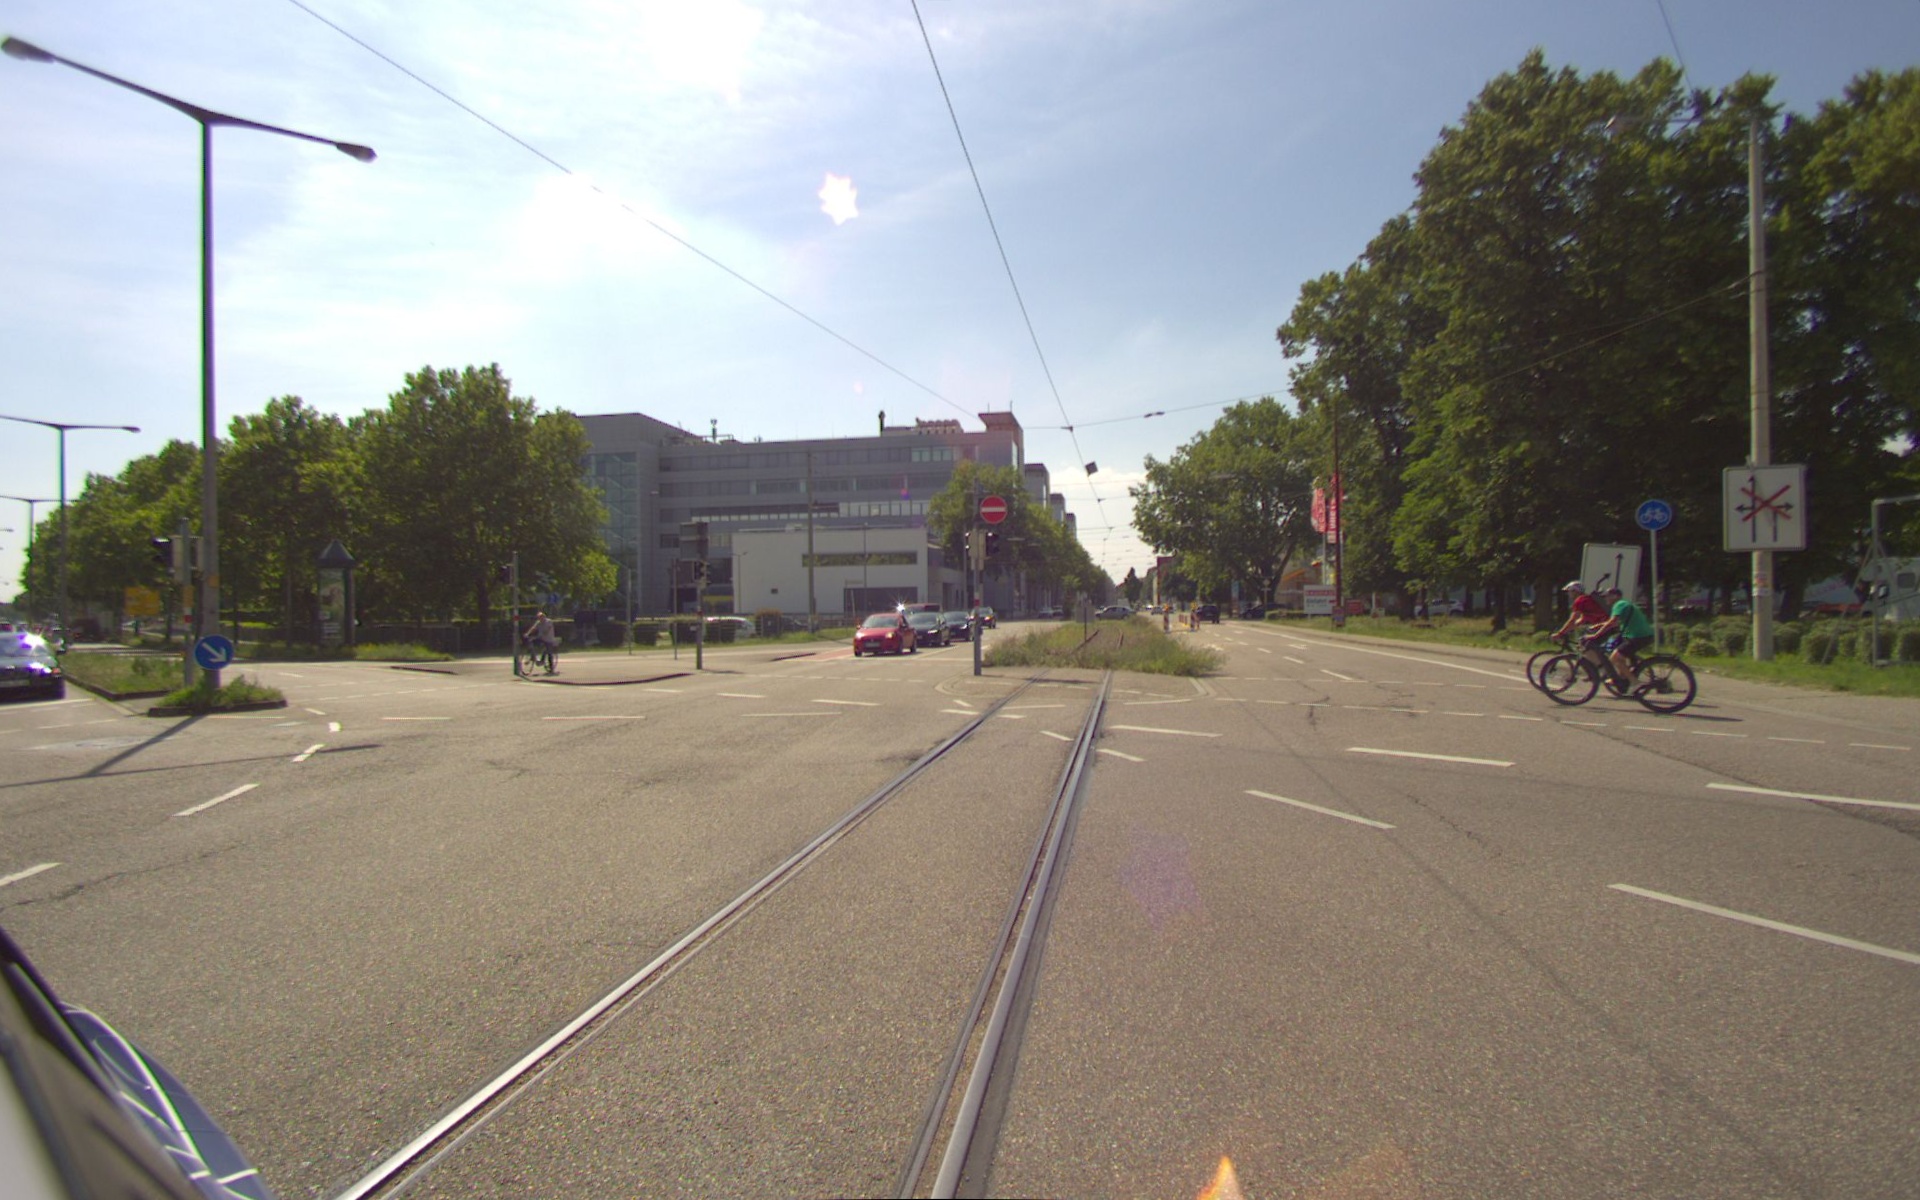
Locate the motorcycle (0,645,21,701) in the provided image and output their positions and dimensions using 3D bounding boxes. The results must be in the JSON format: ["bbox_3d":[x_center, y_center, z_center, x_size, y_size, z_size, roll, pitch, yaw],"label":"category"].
[{"bbox_3d":[-24.314,1.821,25.353,2.332,1.361,1.037,-2,-1,44],"label":"motorcycle"}]

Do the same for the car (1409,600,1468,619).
[{"bbox_3d":[42.386,0.827,89.793,4.338,1.576,1.868,-2,-1,12],"label":"car"}]

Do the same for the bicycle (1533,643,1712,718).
[{"bbox_3d":[9.055,1.075,13.900,0.411,0.945,1.998,0,-1,-44],"label":"bicycle"}]

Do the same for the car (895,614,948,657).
[{"bbox_3d":[-1.598,1.486,43.105,1.973,1.712,3.998,-1,-1,1],"label":"car"}]

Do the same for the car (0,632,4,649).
[{"bbox_3d":[-114.709,4.846,119.943,4.002,2.029,1.971,-2,-1,45],"label":"car"}]

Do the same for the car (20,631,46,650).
[{"bbox_3d":[-105.121,4.592,114.717,4.002,2.029,1.971,-2,-1,45],"label":"car"}]

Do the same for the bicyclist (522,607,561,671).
[{"bbox_3d":[-12.085,1.111,29.244,0.699,1.802,0.764,-2,-1,15],"label":"bicyclist"}]

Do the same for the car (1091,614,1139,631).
[{"bbox_3d":[14.483,2.123,94.708,4.187,1.454,1.779,-2,-1,18],"label":"car"}]

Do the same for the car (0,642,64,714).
[{"bbox_3d":[-20.352,1.619,21.424,4.068,1.372,1.707,-2,0,43],"label":"car"}]

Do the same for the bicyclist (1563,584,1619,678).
[{"bbox_3d":[9.783,0.474,15.686,0.609,1.425,0.522,-2,-1,43],"label":"bicyclist"}]

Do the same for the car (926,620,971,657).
[{"bbox_3d":[-0.530,1.859,49.665,1.974,1.712,3.996,-1,-1,3],"label":"car"}]

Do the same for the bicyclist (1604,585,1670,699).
[{"bbox_3d":[9.198,0.558,13.746,0.521,1.503,0.610,0,-1,-43],"label":"bicyclist"}]

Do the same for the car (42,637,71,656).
[{"bbox_3d":[-76.337,3.886,85.492,3.737,1.525,1.630,-2,-1,44],"label":"car"}]

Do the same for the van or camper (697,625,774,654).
[{"bbox_3d":[-14.572,2.550,65.812,4.458,1.704,1.996,-1,-1,7],"label":"van or camper"}]

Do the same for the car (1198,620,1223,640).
[{"bbox_3d":[19.902,2.340,80.371,1.773,1.454,4.202,-2,-1,14],"label":"car"}]

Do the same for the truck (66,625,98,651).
[{"bbox_3d":[-87.977,3.778,101.365,2.114,2.494,7.135,0,-1,-43],"label":"truck"}]

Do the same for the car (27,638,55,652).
[{"bbox_3d":[-94.576,4.618,104.092,3.766,1.445,1.828,-2,-1,43],"label":"car"}]

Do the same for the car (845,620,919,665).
[{"bbox_3d":[-2.736,1.488,36.459,1.826,1.460,3.990,-1,-1,8],"label":"car"}]

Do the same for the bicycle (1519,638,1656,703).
[{"bbox_3d":[9.727,1.078,15.741,1.751,0.945,0.429,-2,-1,44],"label":"bicycle"}]

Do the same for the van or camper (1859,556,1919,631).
[{"bbox_3d":[41.412,-0.298,42.328,2.682,3.124,6.306,-1,0,10],"label":"van or camper"}]

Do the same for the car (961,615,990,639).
[{"bbox_3d":[1.171,1.983,74.577,1.974,1.712,3.996,-1,-1,3],"label":"car"}]

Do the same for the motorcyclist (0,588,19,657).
[{"bbox_3d":[-24.379,0.577,25.417,1.042,1.712,1.052,-2,-1,44],"label":"motorcyclist"}]

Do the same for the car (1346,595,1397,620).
[{"bbox_3d":[36.589,0.664,89.992,3.980,2.029,1.981,-2,-1,28],"label":"car"}]

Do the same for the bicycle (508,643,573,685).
[{"bbox_3d":[-12.075,1.825,29.211,0.521,1.072,2.155,-2,-1,15],"label":"bicycle"}]

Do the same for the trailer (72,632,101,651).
[{"bbox_3d":[-84.074,3.977,97.425,2.037,1.729,3.995,0,-1,-42],"label":"trailer"}]

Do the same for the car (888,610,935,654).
[{"bbox_3d":[-2.643,1.764,56.467,2.124,2.295,5.036,-1,-1,3],"label":"car"}]

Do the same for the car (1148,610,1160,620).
[{"bbox_3d":[30.031,2.276,156.358,1.681,1.438,3.849,-1,-1,9],"label":"car"}]
